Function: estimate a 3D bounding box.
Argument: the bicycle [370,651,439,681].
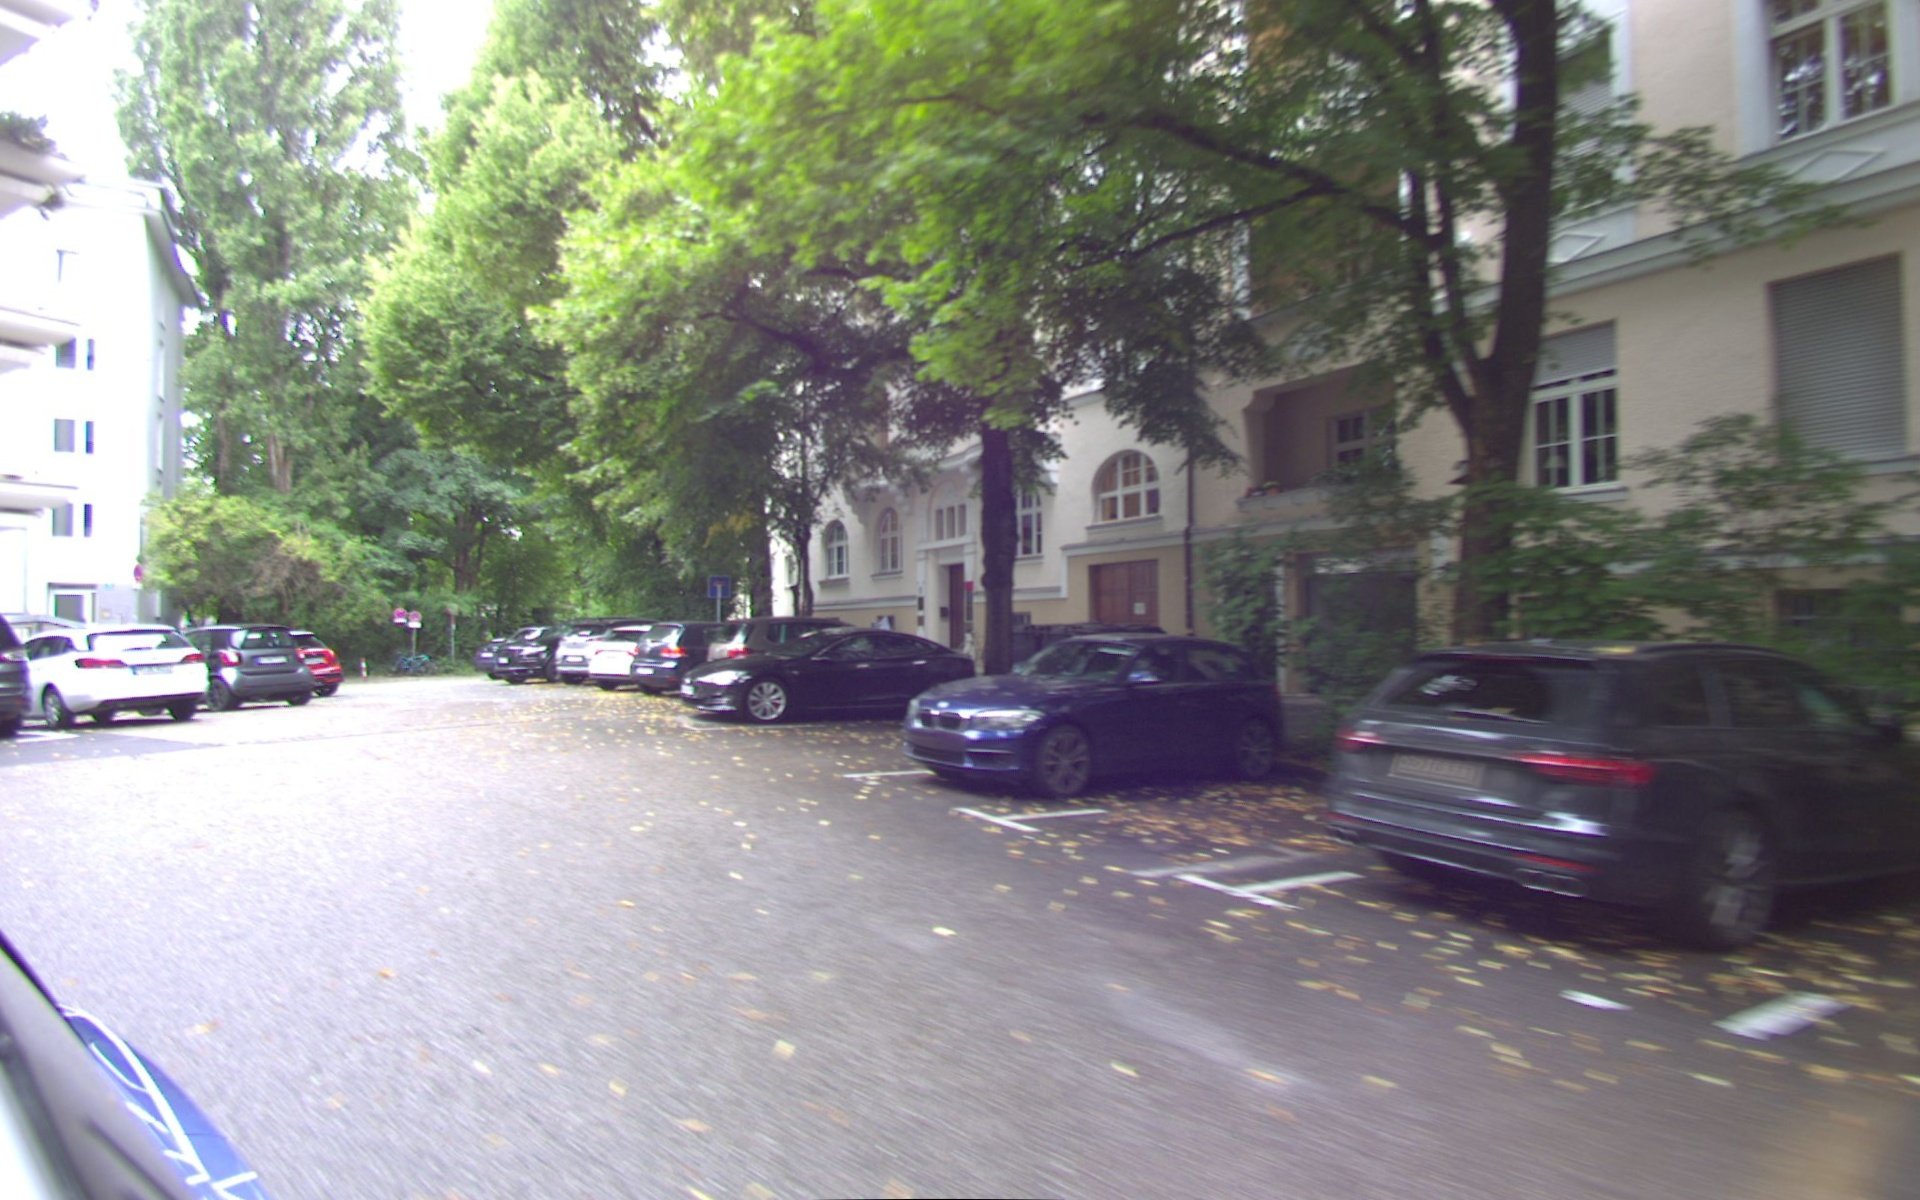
[{"bbox_3d":[-22.632,2.674,41.244,2.428,1.126,0.828,1,-2,-30],"label":"bicycle"}]

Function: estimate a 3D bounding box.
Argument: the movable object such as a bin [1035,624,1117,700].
[{"bbox_3d":[2.150,1.122,18.734,1.350,1.358,0.717,0,-2,-34],"label":"movable object such as a bin"}]

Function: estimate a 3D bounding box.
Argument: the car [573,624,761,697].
[{"bbox_3d":[-6.412,1.275,22.573,1.717,1.442,3.959,-1,-1,30],"label":"car"}]

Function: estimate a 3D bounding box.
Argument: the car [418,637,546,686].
[{"bbox_3d":[-16.220,2.063,34.548,1.710,1.489,3.975,-1,-1,19],"label":"car"}]

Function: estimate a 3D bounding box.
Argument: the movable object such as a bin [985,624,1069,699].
[{"bbox_3d":[1.301,1.165,19.662,1.137,1.359,1.156,0,-1,-36],"label":"movable object such as a bin"}]

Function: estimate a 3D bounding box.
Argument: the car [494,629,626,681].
[{"bbox_3d":[-12.462,1.678,31.769,1.710,1.489,3.975,-1,-1,19],"label":"car"}]

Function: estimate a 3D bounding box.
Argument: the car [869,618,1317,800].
[{"bbox_3d":[1.421,0.924,9.835,4.272,1.394,1.848,2,-3,-38],"label":"car"}]

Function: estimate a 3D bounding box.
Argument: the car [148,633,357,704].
[{"bbox_3d":[-15.269,1.423,21.864,3.969,1.409,1.745,-1,-2,20],"label":"car"}]

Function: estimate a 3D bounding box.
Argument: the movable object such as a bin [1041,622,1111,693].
[{"bbox_3d":[2.335,1.133,20.367,0.850,1.359,1.124,0,-1,-36],"label":"movable object such as a bin"}]

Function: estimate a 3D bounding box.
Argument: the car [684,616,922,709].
[{"bbox_3d":[-2.838,1.076,18.714,3.961,1.542,1.848,1,-2,-40],"label":"car"}]

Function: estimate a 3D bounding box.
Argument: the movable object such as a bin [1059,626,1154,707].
[{"bbox_3d":[2.542,1.119,17.504,1.408,1.315,0.867,0,0,-36],"label":"movable object such as a bin"}]

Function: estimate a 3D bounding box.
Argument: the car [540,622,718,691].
[{"bbox_3d":[-8.038,1.322,24.905,1.868,1.521,3.959,-1,-1,30],"label":"car"}]

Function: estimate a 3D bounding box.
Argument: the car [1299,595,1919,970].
[{"bbox_3d":[4.091,0.828,5.742,4.091,1.436,1.869,3,-4,-30],"label":"car"}]

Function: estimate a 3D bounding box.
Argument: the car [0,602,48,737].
[{"bbox_3d":[-14.198,0.997,13.323,4.212,1.697,1.885,-4,-3,27],"label":"car"}]

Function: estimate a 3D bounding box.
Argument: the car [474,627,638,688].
[{"bbox_3d":[-10.351,1.427,26.256,2.043,1.412,3.982,0,-1,14],"label":"car"}]

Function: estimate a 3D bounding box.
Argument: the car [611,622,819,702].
[{"bbox_3d":[-4.873,1.188,20.630,1.793,1.442,3.953,-1,-1,35],"label":"car"}]

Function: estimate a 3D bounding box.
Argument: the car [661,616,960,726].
[{"bbox_3d":[-2.267,1.081,15.721,4.215,1.478,1.714,3,-2,-32],"label":"car"}]

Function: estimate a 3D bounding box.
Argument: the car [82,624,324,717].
[{"bbox_3d":[-14.057,1.311,18.799,3.973,1.490,1.822,-4,-3,22],"label":"car"}]

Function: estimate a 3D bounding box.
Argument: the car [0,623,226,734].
[{"bbox_3d":[-13.327,1.218,15.472,3.979,1.490,1.819,-4,-3,27],"label":"car"}]

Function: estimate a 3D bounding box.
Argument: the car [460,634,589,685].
[{"bbox_3d":[-14.282,1.909,33.449,1.710,1.489,3.975,-1,-1,19],"label":"car"}]
